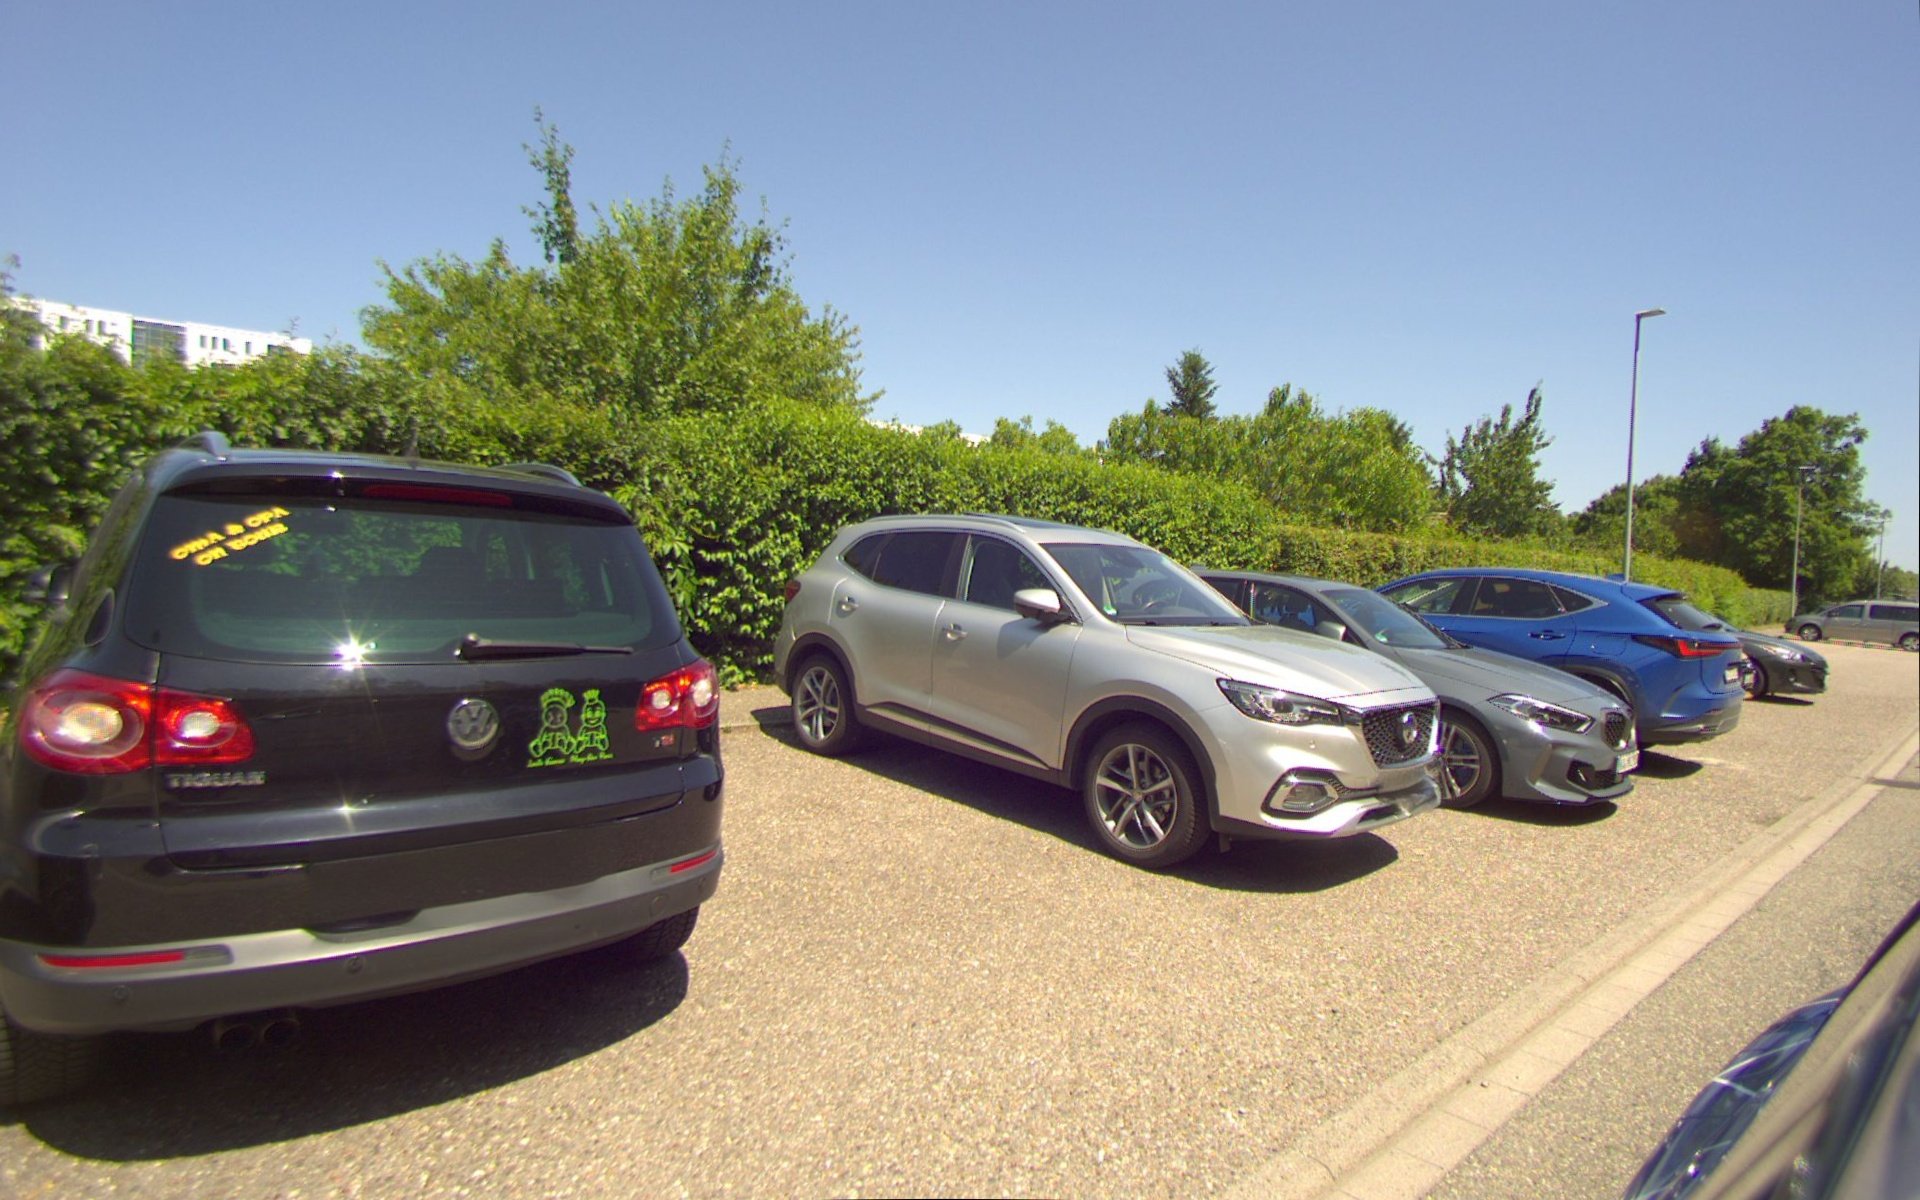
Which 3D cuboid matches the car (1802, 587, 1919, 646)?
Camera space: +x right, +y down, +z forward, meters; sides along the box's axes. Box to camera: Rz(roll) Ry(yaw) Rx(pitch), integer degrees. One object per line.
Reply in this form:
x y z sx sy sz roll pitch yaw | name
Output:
35.478 0.662 38.931 1.668 1.872 4.487 1 5 -44 | car

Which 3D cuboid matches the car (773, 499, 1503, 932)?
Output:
0.743 0.330 6.256 1.746 1.661 4.168 1 5 -42 | car

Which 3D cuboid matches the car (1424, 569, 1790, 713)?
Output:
9.101 0.468 14.531 1.620 1.463 4.037 1 5 -40 | car

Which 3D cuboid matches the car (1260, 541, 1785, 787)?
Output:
5.185 0.411 9.818 1.644 1.661 4.037 1 5 -40 | car

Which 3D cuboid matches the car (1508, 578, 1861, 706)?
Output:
11.413 0.556 16.222 1.620 1.434 4.253 1 5 -40 | car

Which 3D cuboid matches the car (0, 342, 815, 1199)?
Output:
-2.393 0.242 3.845 1.735 1.706 3.983 1 4 -40 | car

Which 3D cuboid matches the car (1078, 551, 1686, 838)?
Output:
3.029 0.487 7.981 1.650 1.425 4.036 1 5 -41 | car

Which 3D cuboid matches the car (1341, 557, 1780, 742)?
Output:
6.835 0.423 11.905 1.620 1.532 4.037 1 5 -40 | car
